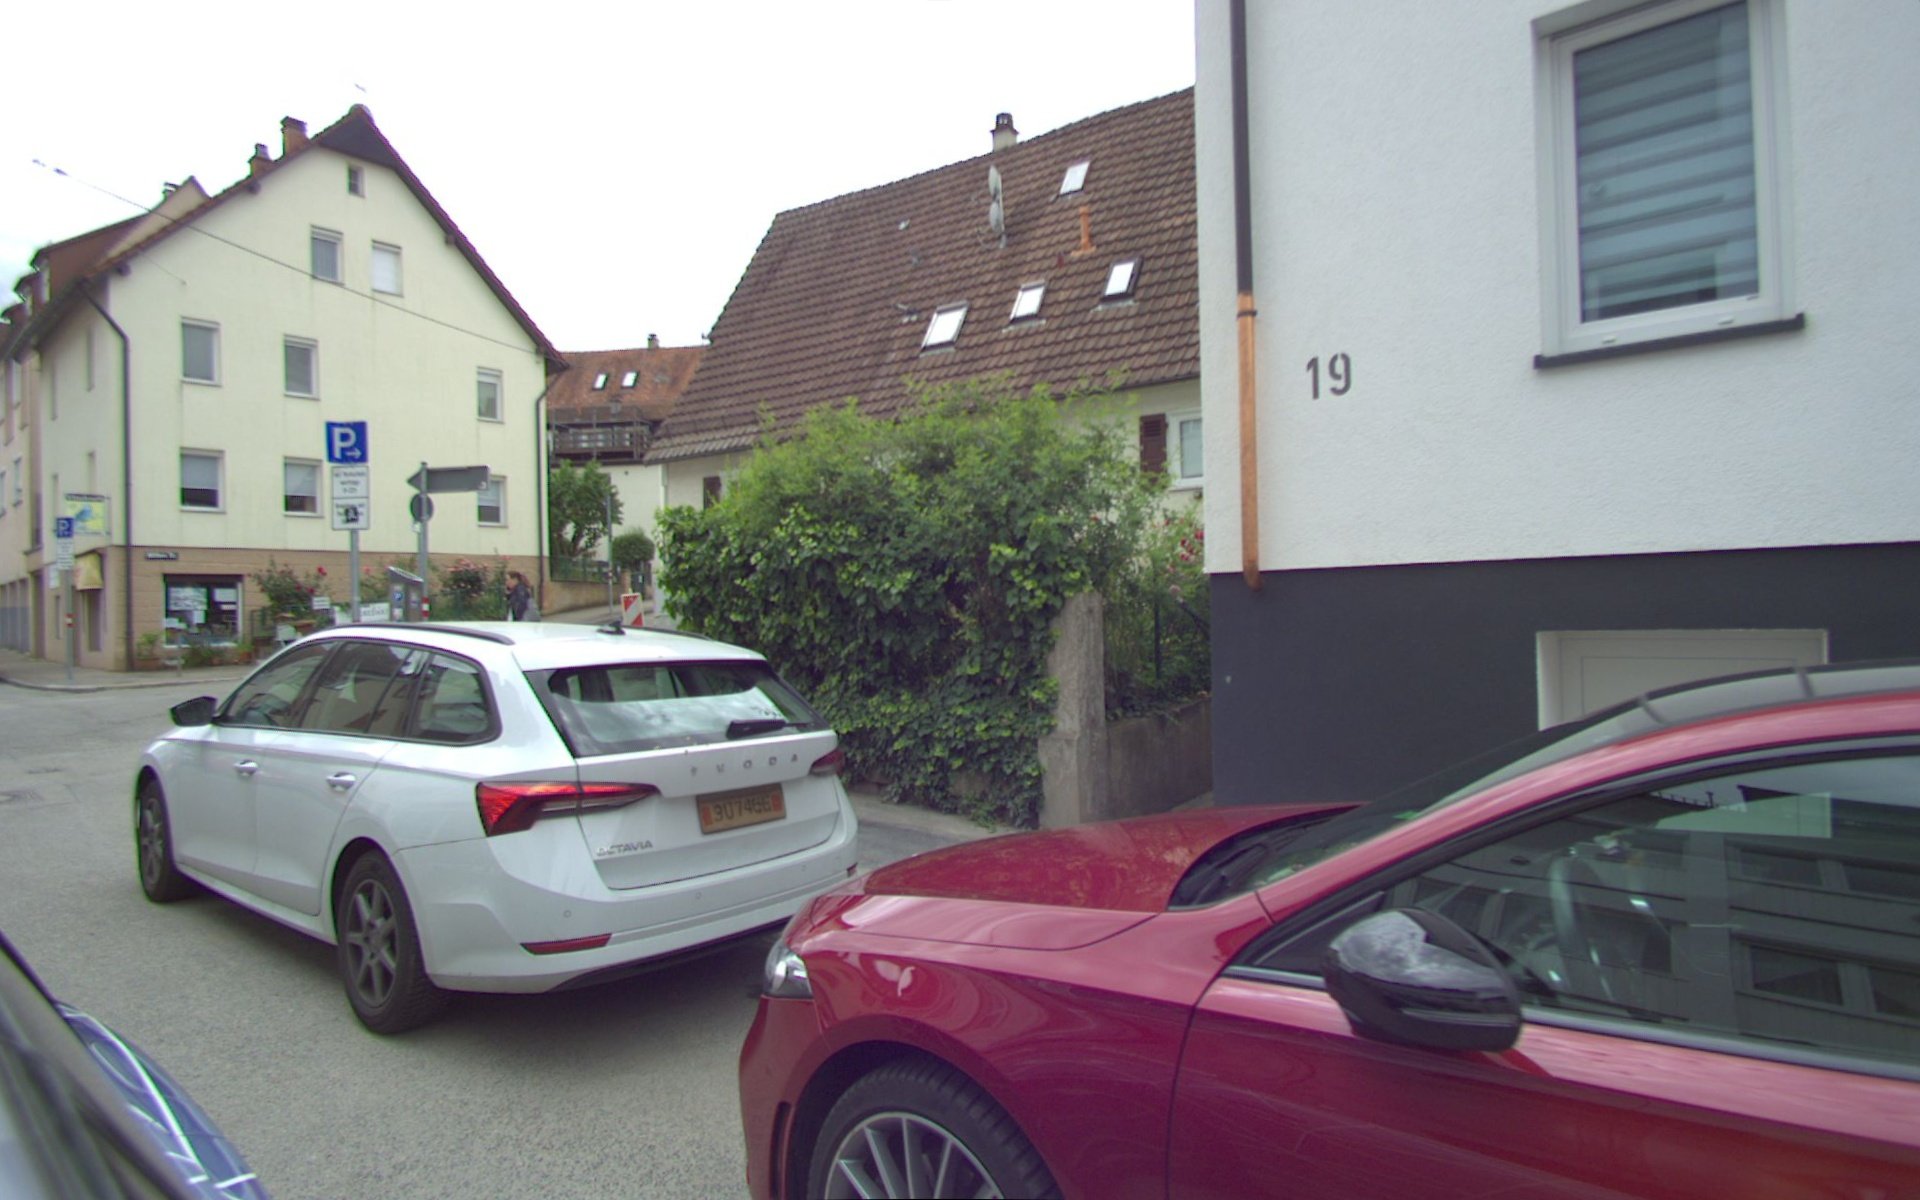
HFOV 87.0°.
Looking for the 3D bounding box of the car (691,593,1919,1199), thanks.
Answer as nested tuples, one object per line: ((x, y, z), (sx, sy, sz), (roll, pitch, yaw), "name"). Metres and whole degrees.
((1.548, 0.724, 1.539), (4.169, 1.428, 1.750), (-1, -2, 41), "car")

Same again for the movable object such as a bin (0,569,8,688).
((-22.531, 0.622, 22.309), (4.668, 2.519, 1.552), (-1, -2, 38), "movable object such as a bin")

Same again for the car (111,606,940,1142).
((-2.310, 0.802, 4.826), (4.289, 1.472, 1.776), (-1, -2, 38), "car")

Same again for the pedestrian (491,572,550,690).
((-6.595, 0.445, 15.173), (0.638, 1.697, 0.606), (-4, 2, -33), "pedestrian")
